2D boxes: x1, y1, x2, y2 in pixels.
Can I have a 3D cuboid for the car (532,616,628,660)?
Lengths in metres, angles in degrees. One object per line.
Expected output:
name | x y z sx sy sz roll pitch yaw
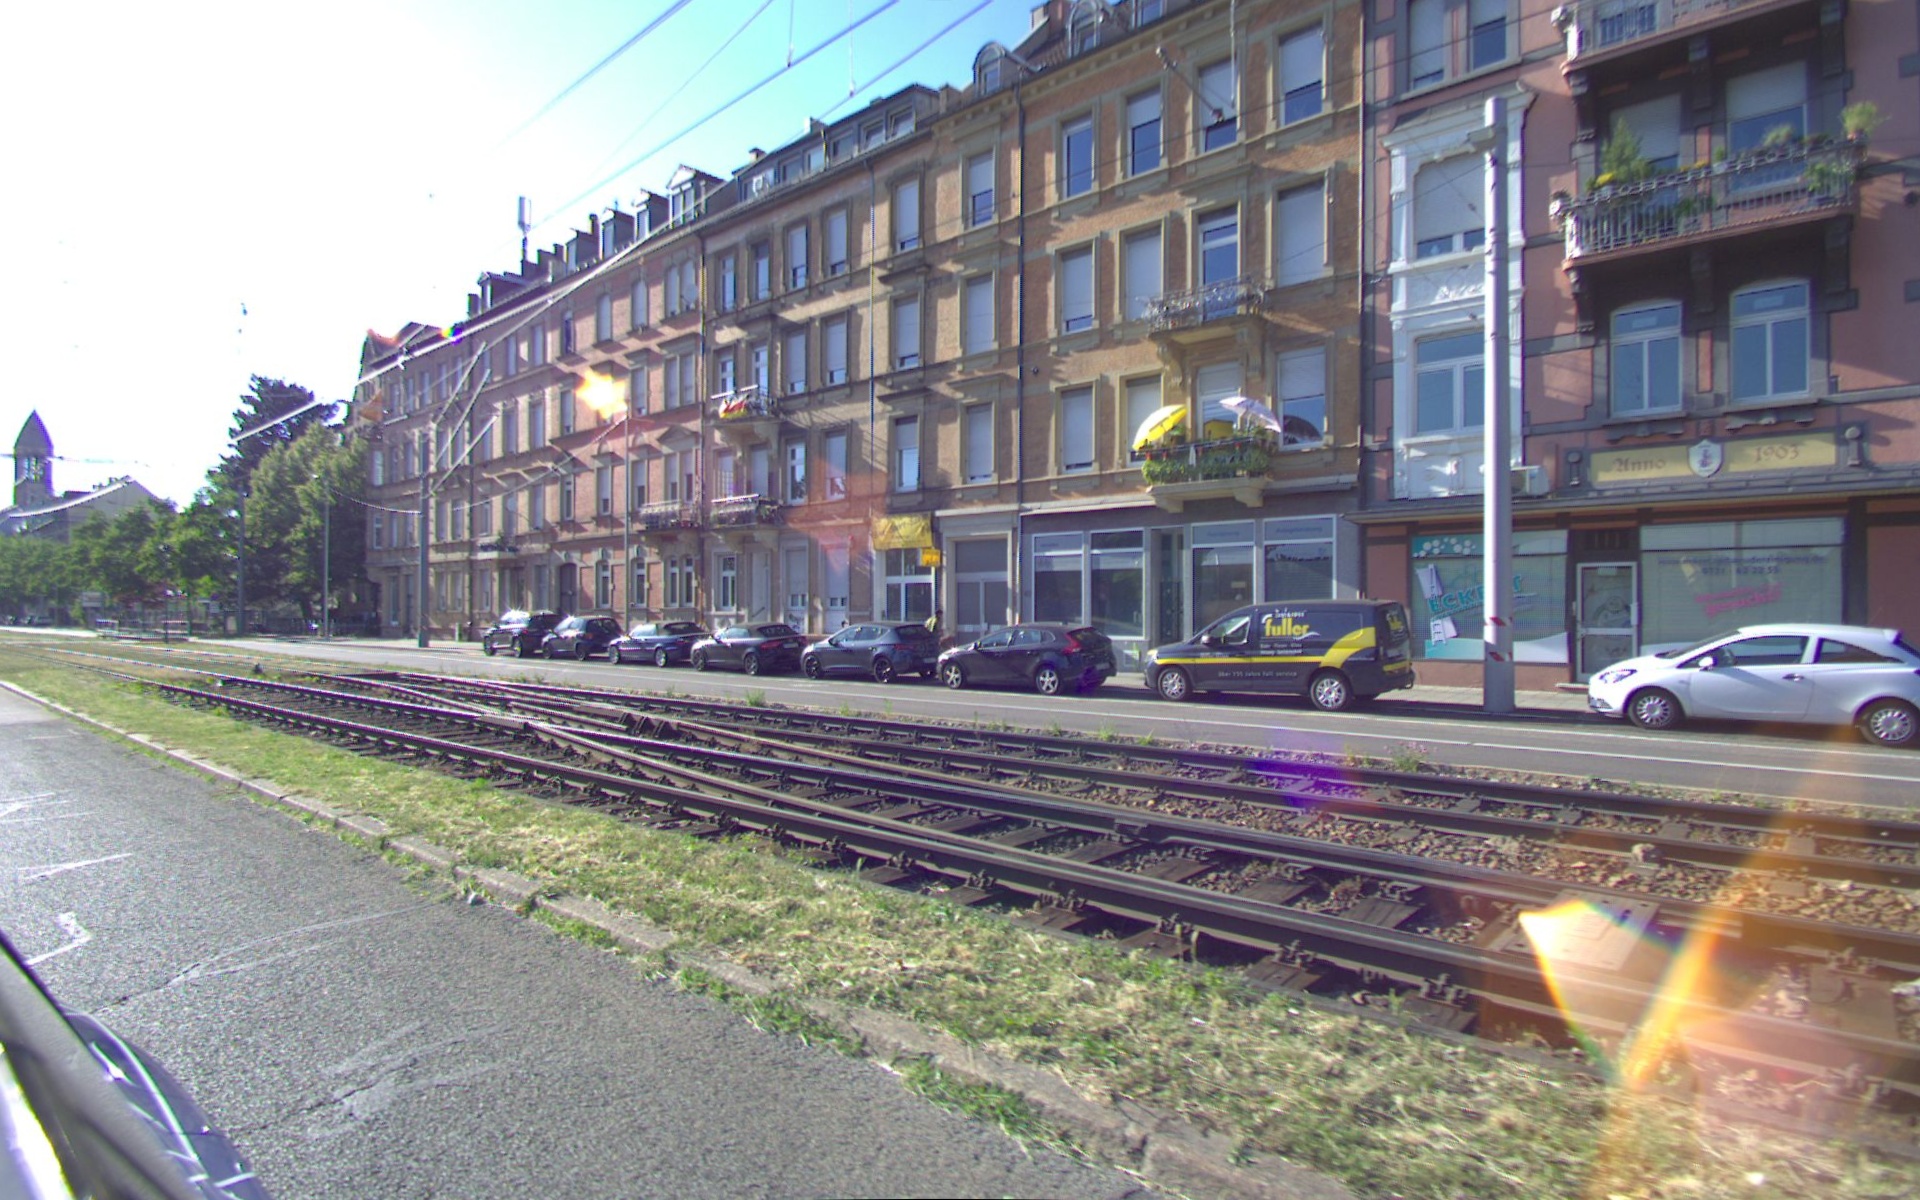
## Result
car | -13.538 1.306 35.969 3.764 1.456 1.642 -1 0 42

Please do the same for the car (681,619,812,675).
car | -6.195 1.296 29.146 3.980 1.456 1.642 -1 0 42

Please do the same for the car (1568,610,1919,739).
car | 11.244 0.931 13.994 4.623 1.550 1.901 -1 0 40

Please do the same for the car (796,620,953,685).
car | -2.204 1.256 25.439 3.980 1.456 1.642 -1 0 42

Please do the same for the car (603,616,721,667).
car | -9.553 1.276 32.276 4.195 1.456 1.642 -1 0 42

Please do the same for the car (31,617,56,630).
car | -115.679 2.968 127.679 3.997 1.522 1.776 -1 -2 40

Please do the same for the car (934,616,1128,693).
car | 1.449 1.094 21.712 3.980 1.456 1.642 -1 0 42

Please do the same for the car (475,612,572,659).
car | -16.805 1.302 38.856 4.632 1.655 1.774 -1 0 44

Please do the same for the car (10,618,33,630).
car | -123.597 3.123 133.279 3.997 1.522 1.776 -1 -2 40

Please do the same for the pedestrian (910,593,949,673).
pedestrian | -0.795 0.853 26.304 0.868 2.029 0.634 0 1 12

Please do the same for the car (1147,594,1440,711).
car | 5.867 0.849 18.178 4.725 1.821 1.643 -1 0 40

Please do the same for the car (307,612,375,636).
car | -43.228 1.655 70.743 3.931 1.521 1.806 -1 1 -27
